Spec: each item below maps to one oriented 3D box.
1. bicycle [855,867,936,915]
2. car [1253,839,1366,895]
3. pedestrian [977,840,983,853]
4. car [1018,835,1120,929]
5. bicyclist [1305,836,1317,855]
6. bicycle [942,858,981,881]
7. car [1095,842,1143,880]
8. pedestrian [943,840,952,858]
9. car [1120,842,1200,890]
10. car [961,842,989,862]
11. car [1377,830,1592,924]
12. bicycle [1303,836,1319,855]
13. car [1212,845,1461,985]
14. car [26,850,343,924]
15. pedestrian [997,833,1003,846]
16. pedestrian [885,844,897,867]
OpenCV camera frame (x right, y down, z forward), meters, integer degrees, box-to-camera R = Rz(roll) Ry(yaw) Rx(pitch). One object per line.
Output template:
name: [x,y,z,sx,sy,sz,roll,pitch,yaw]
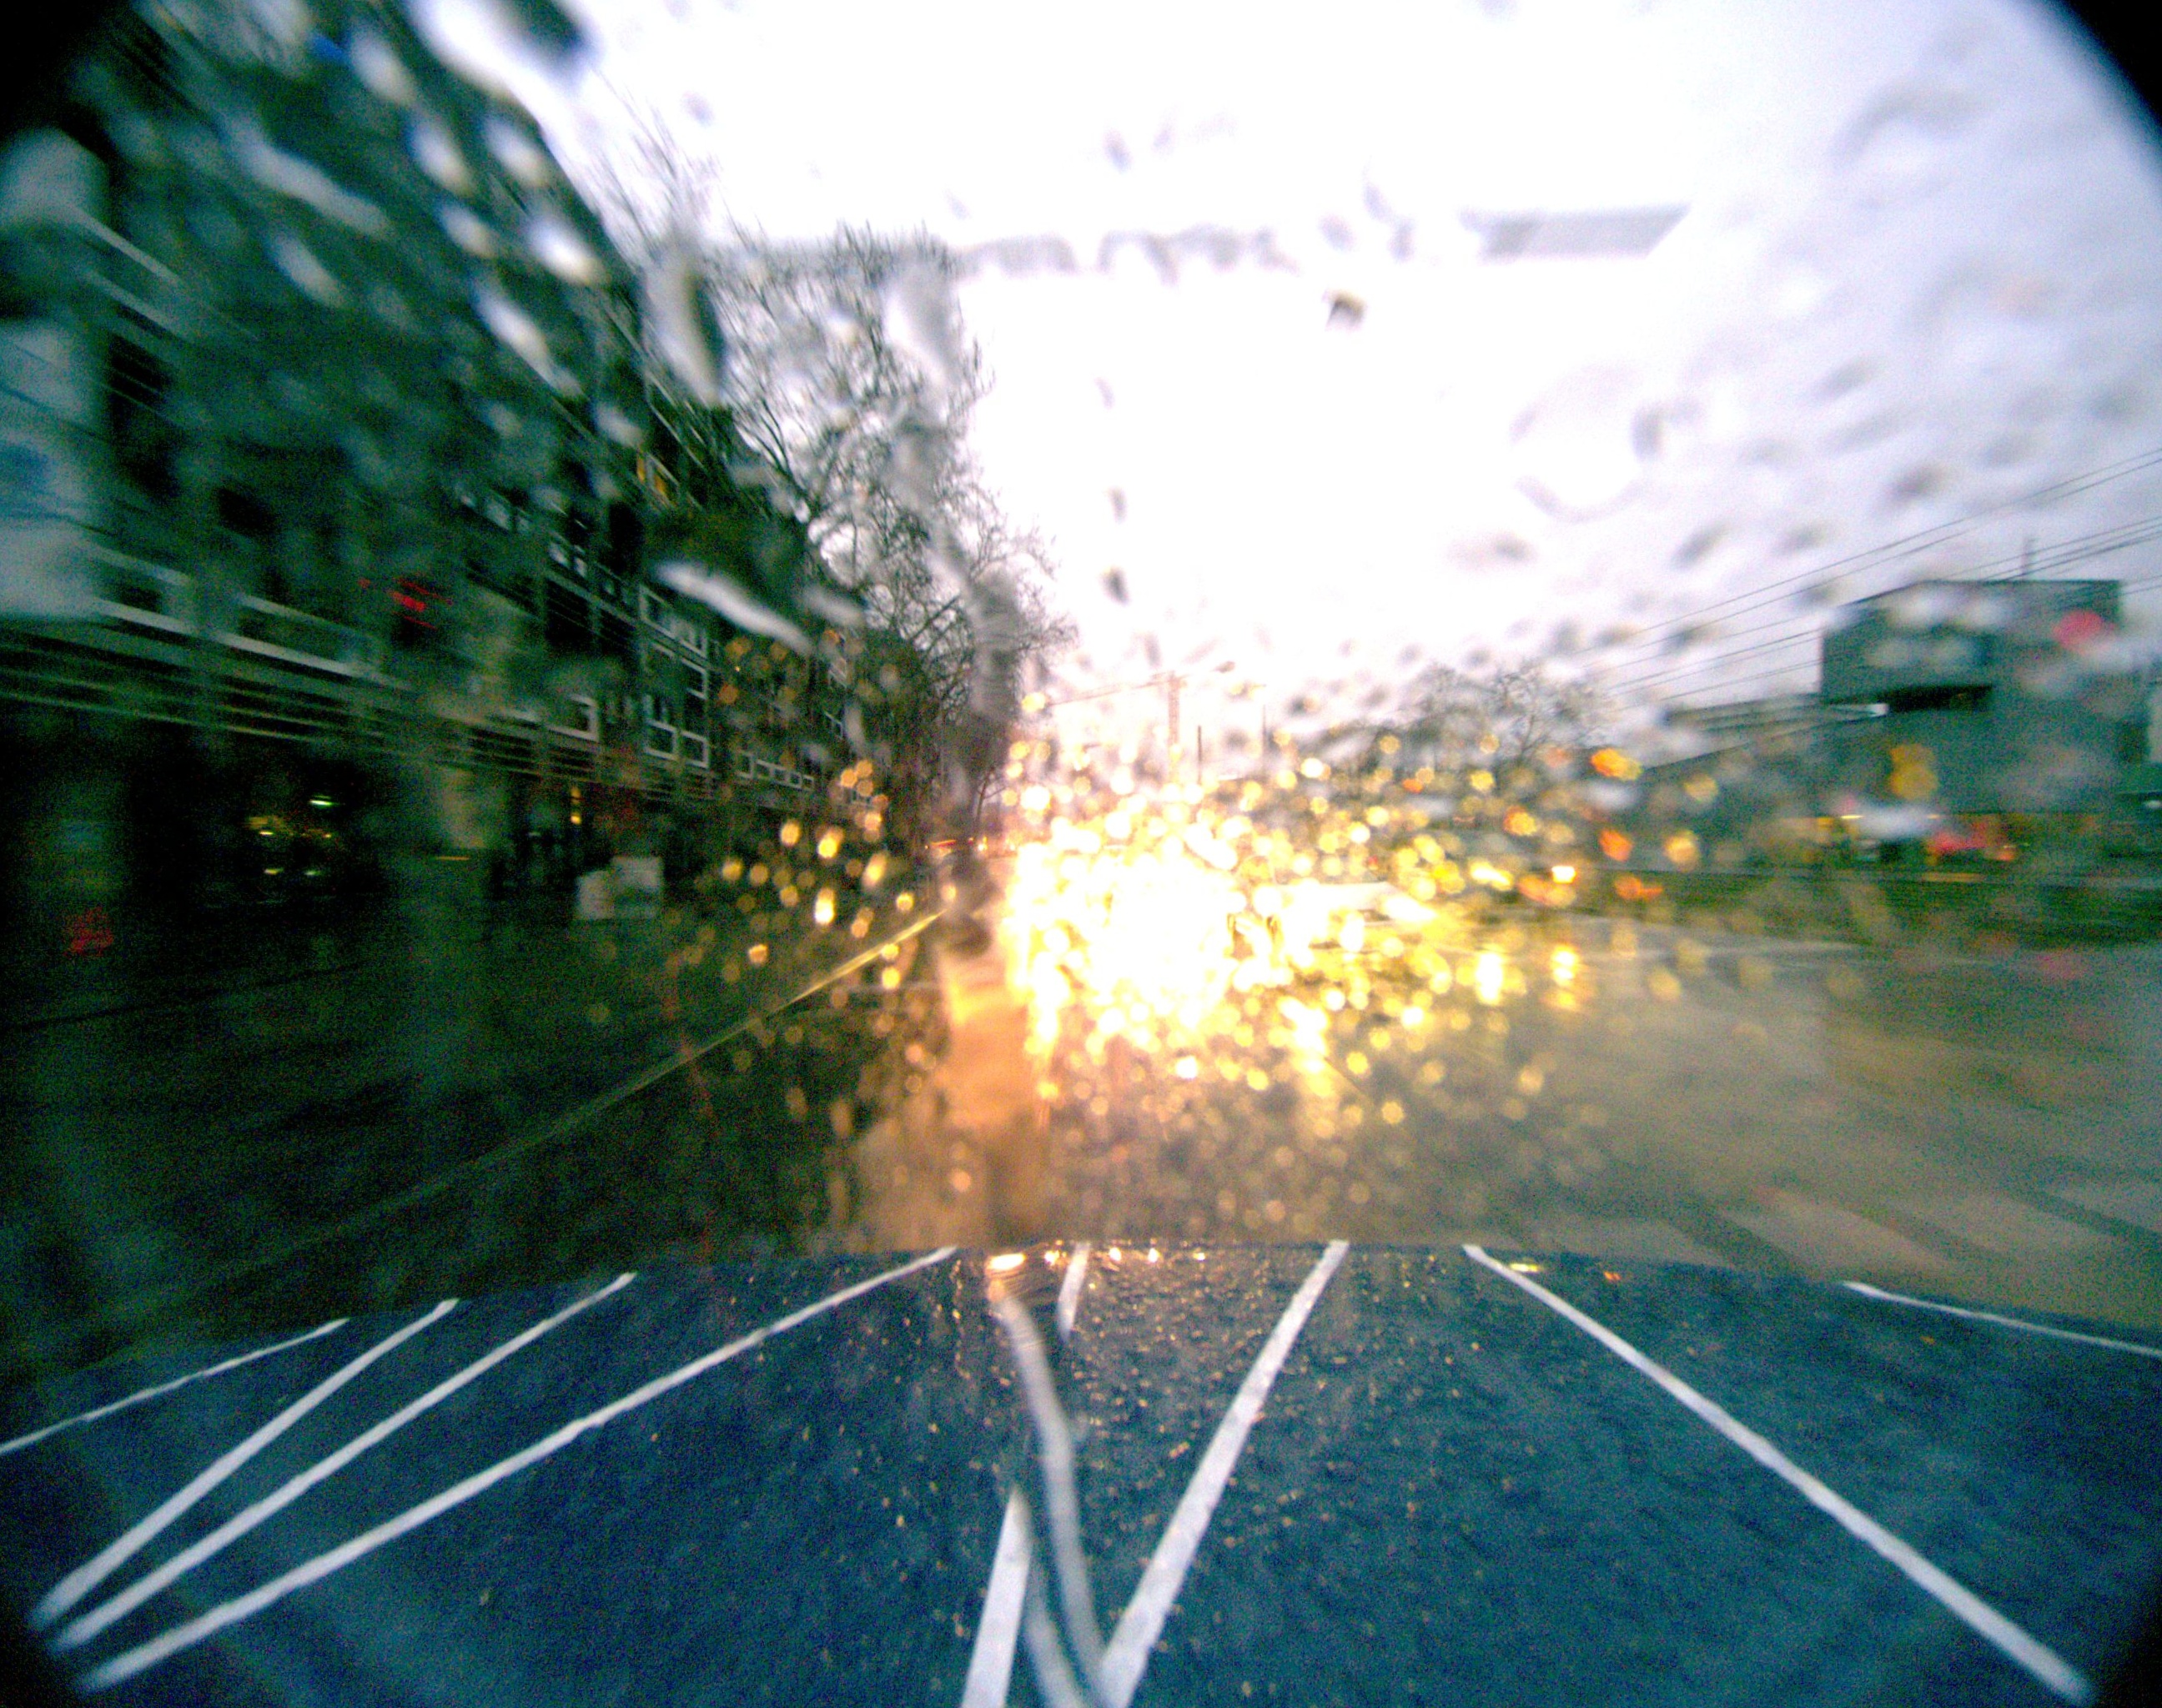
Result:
bicycle: [-4.545,0.898,18.700,1.811,1.124,0.640,1,0,-2]
car: [6.987,0.312,23.787,1.854,1.499,4.660,-1,2,-4]
pedestrian: [-13.615,-0.976,102.865,0.767,1.740,0.927,-1,2,-6]
car: [-0.392,0.520,17.359,1.879,1.831,3.996,-2,2,-6]
bicyclist: [22.197,-0.813,73.277,0.763,1.723,0.960,-2,3,-5]
bicycle: [-5.476,0.714,34.891,1.704,0.987,0.879,1,2,-2]
car: [1.774,0.284,36.350,1.907,1.565,3.998,-2,2,-2]
pedestrian: [-13.004,-0.507,73.835,0.767,1.740,0.927,-1,2,-6]
car: [2.609,0.345,26.167,1.999,1.478,4.503,-1,1,-4]
car: [-8.377,-0.191,60.310,1.713,1.455,3.998,-2,2,-2]
car: [7.748,0.325,15.154,1.972,1.575,4.287,-1,2,-1]
bicycle: [22.206,-0.804,73.273,0.763,1.723,2.062,-2,3,-5]
car: [3.327,0.678,10.966,1.949,1.478,4.504,-2,1,-1]
car: [-18.633,0.599,16.150,1.999,1.303,3.999,0,1,-1]
pedestrian: [-11.092,-1.949,103.627,0.767,1.740,0.927,-1,2,-6]
pedestrian: [-14.495,0.095,58.063,0.767,1.740,0.927,-1,2,-6]
